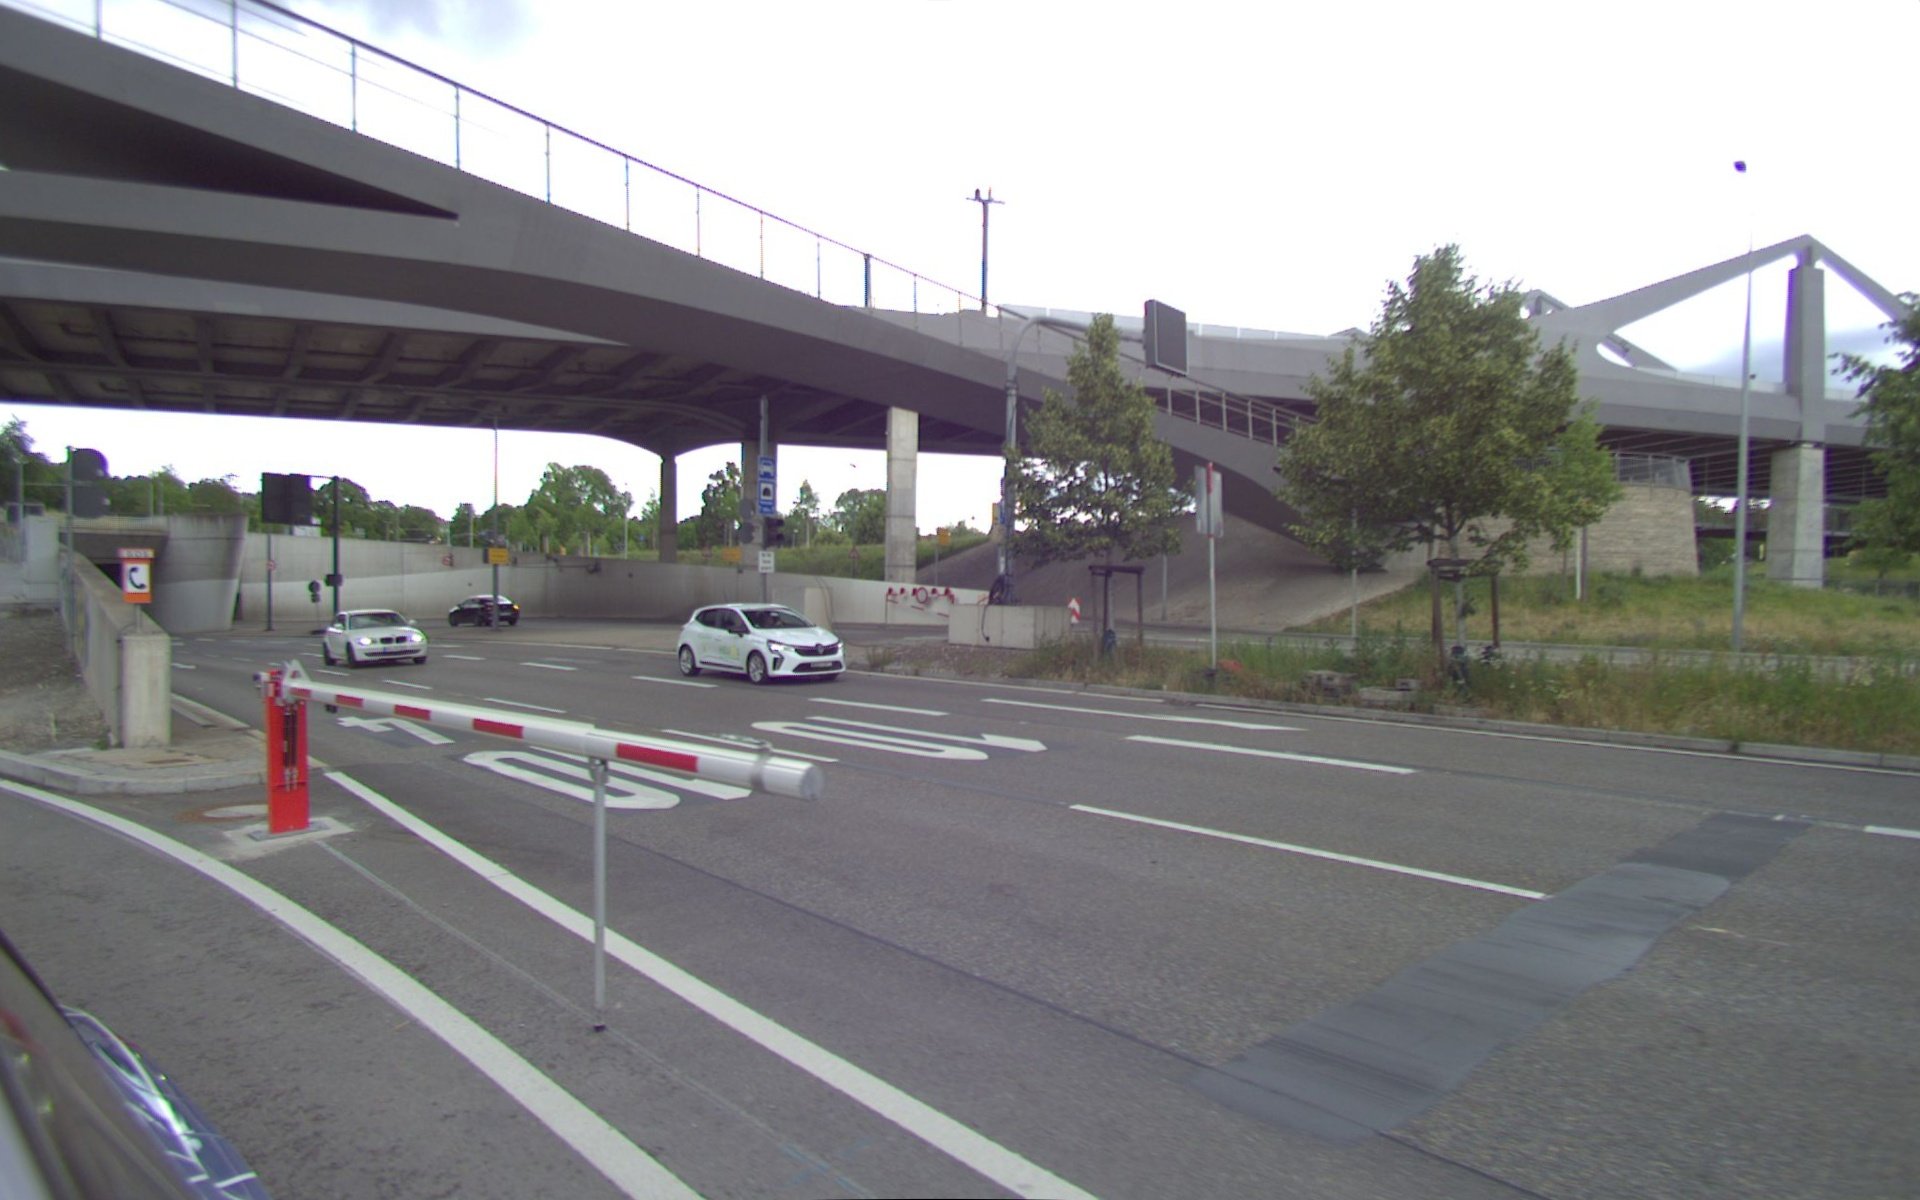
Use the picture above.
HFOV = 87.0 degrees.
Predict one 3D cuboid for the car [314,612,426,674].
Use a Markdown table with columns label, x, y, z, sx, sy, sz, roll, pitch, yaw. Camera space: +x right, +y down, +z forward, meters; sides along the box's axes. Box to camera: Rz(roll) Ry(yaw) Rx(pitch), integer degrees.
| label | x | y | z | sx | sy | sz | roll | pitch | yaw |
| --- | --- | --- | --- | --- | --- | --- | --- | --- | --- |
| car | -15.405 | 1.077 | 26.329 | 1.619 | 1.444 | 3.985 | -1 | 0 | -44 |

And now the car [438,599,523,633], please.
| label | x | y | z | sx | sy | sz | roll | pitch | yaw |
| --- | --- | --- | --- | --- | --- | --- | --- | --- | --- |
| car | -22.542 | 0.716 | 47.503 | 4.609 | 1.489 | 1.772 | 0 | 0 | 38 |

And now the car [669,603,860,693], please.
| label | x | y | z | sx | sy | sz | roll | pitch | yaw |
| --- | --- | --- | --- | --- | --- | --- | --- | --- | --- |
| car | -3.781 | 0.822 | 19.191 | 3.999 | 1.495 | 1.558 | 0 | 1 | 45 |
